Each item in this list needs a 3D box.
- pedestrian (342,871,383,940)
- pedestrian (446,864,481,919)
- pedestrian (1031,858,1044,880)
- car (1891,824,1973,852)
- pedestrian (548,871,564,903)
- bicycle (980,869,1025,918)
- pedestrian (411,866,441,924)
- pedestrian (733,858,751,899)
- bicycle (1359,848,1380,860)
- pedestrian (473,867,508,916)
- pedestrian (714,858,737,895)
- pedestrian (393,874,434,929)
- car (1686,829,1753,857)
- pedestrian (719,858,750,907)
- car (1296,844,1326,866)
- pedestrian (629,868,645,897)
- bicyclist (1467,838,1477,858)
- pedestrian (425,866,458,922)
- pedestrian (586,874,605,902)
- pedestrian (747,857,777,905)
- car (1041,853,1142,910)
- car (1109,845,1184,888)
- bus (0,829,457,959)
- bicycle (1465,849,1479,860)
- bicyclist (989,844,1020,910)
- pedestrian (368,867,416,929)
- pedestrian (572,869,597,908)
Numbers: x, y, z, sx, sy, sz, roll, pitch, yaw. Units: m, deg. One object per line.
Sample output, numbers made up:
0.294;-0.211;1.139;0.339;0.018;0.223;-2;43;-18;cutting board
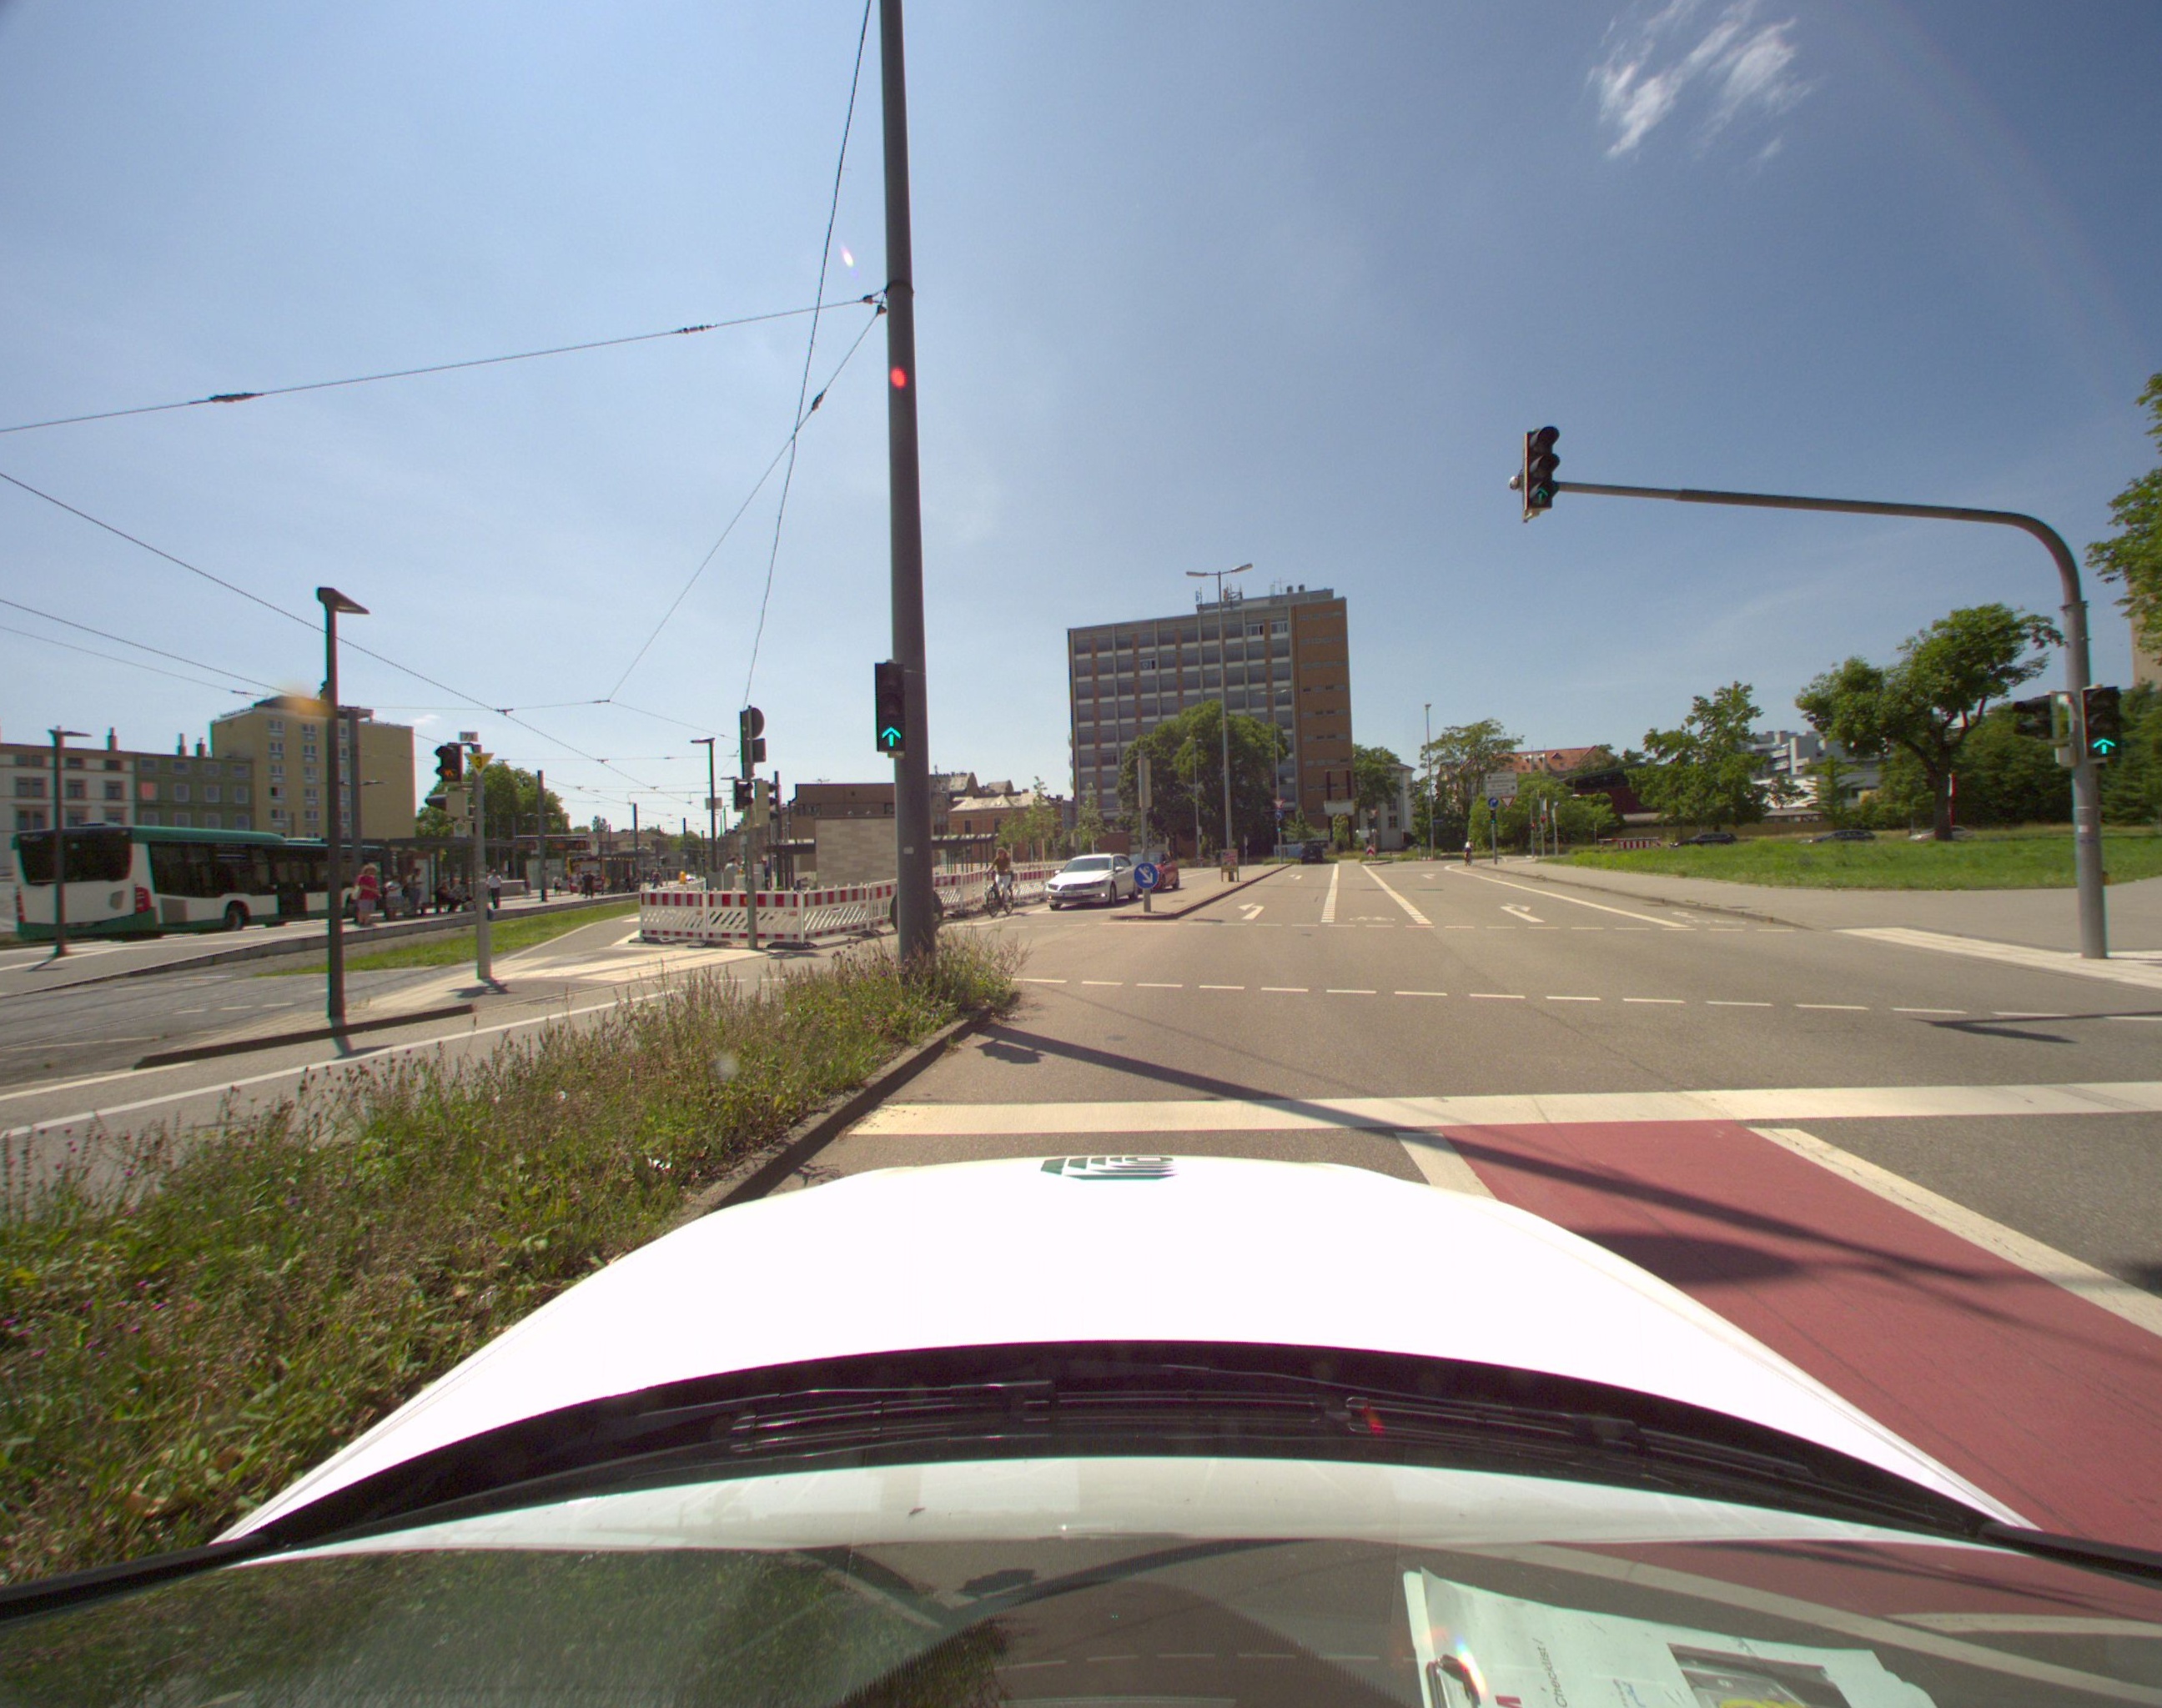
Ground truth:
-20.582;1.456;23.330;0.676;1.909;0.635;-2;0;-27;pedestrian
-24.327;1.472;32.111;0.904;2.096;0.824;-2;0;-29;pedestrian
-3.976;1.386;75.114;1.012;2.014;1.135;-2;-1;1;pedestrian
64.208;-1.167;61.501;3.953;1.871;1.477;-3;-2;20;car
-35.731;2.264;55.426;0.711;2.111;0.649;-2;-1;-41;pedestrian
-2.062;1.013;21.516;0.394;1.174;1.780;-2;0;21;bicycle
-24.124;1.501;29.992;0.703;2.096;0.639;-2;0;-29;pedestrian
-16.232;1.167;39.013;0.722;1.923;1.066;-1;-2;-22;pedestrian
29.979;0.000;84.652;1.988;1.135;0.577;-3;-2;29;bicycle
-26.314;1.642;36.305;0.900;2.096;0.828;-2;0;-13;pedestrian
-16.529;1.056;37.854;0.733;1.707;0.734;-1;-2;-43;pedestrian
-23.435;1.654;28.610;0.917;1.851;0.652;-2;0;-27;pedestrian
51.543;-0.872;65.787;3.953;2.014;1.477;-3;-2;20;car
-13.323;1.092;31.326;0.721;1.864;0.772;-3;-2;32;pedestrian
17.267;0.106;61.228;1.679;1.527;3.698;-3;-1;8;car
-33.149;2.135;60.840;0.831;2.096;0.896;-2;0;-18;pedestrian
24.026;-0.359;50.004;0.348;1.227;0.567;-3;0;40;bicyclist
-24.332;1.508;30.986;0.829;2.096;0.635;-2;0;-29;pedestrian
-32.997;2.318;55.349;0.979;1.834;0.768;-2;0;-41;pedestrian
-12.762;1.072;32.573;0.983;1.832;0.627;-2;0;-32;pedestrian
0.444;0.753;23.891;1.980;1.438;4.721;-3;-1;12;car
2.521;0.427;30.298;1.717;1.425;4.144;-3;-1;20;car
-28.063;1.106;29.040;3.017;3.158;17.398;-2;0;-16;bus
24.001;0.016;49.928;0.373;0.646;1.655;-3;0;39;bicycle
-2.036;0.609;21.691;0.562;1.719;0.510;-2;0;24;bicyclist
-23.010;1.449;27.224;0.947;1.990;1.019;-2;0;-27;pedestrian
-27.648;1.886;45.366;0.900;2.096;0.828;-2;0;-13;pedestrian
